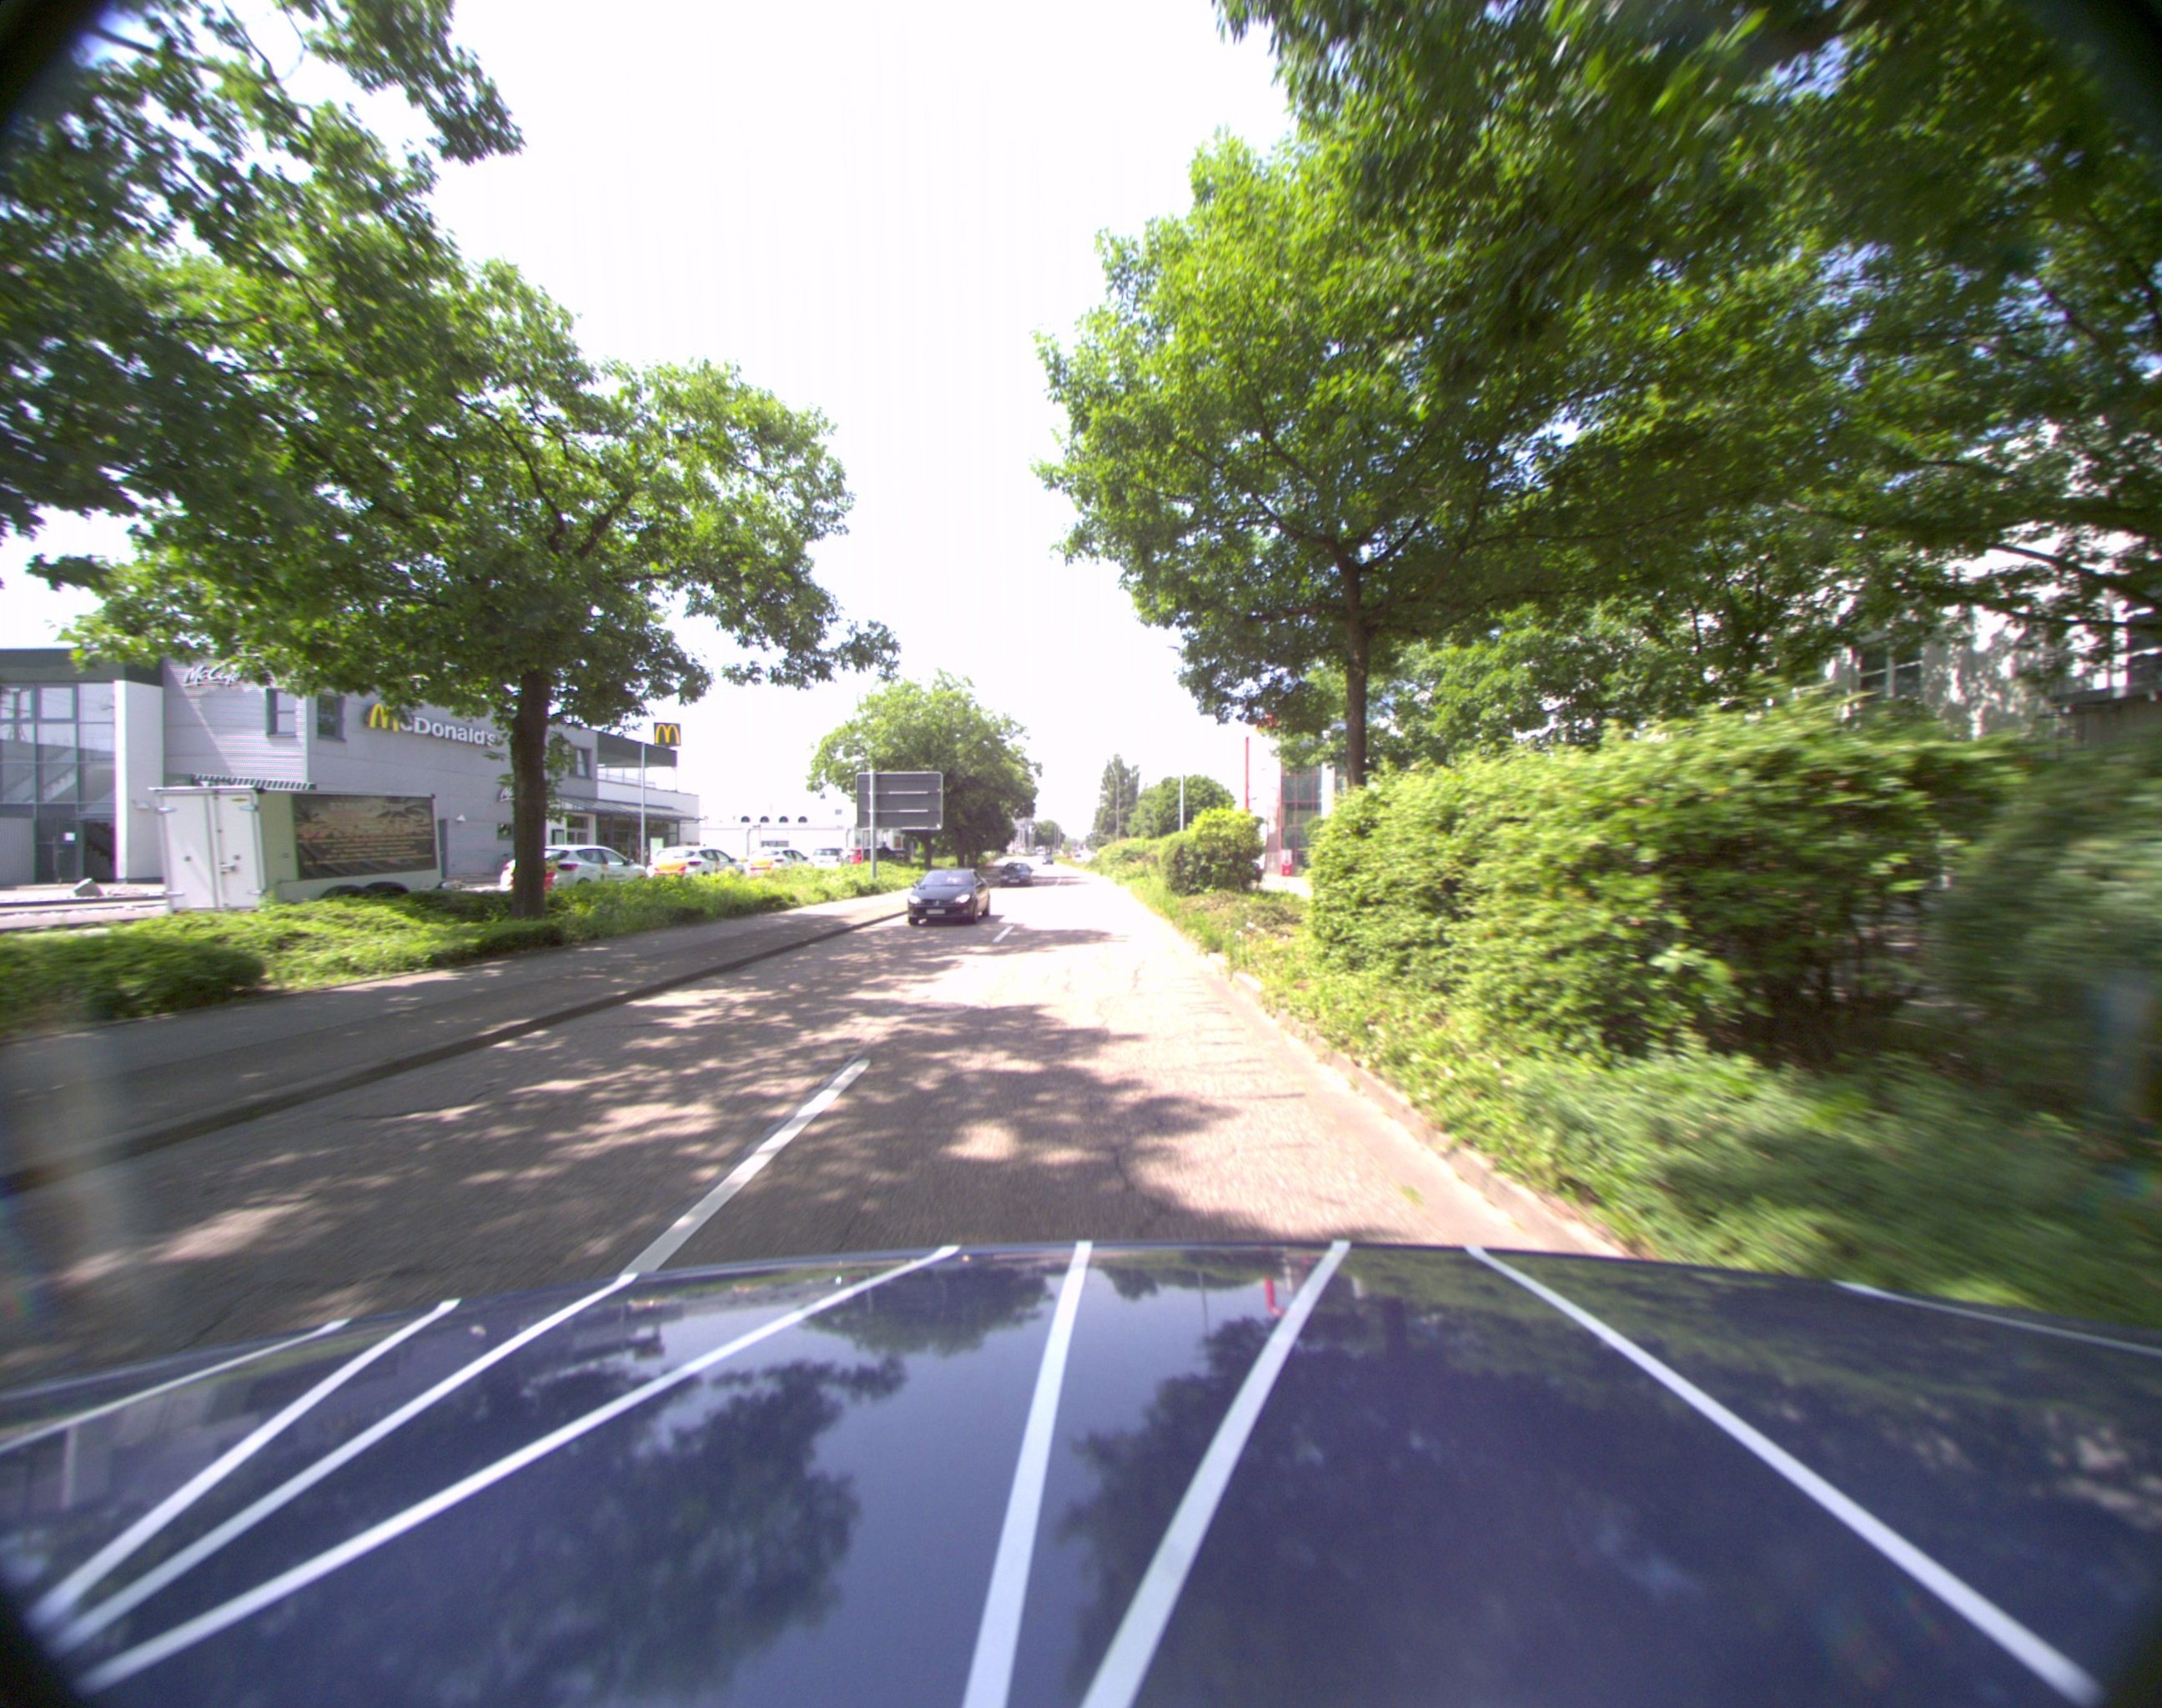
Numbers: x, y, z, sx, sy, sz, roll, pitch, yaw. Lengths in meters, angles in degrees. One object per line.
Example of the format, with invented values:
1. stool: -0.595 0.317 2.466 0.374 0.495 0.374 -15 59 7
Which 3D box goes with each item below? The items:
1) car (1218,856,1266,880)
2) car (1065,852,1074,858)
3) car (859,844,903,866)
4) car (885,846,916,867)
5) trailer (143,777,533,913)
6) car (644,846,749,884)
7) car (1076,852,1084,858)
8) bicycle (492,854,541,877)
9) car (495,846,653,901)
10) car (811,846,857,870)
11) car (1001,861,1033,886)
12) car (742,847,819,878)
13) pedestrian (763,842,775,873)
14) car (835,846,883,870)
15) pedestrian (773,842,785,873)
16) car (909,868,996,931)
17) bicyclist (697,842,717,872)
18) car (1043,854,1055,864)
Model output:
1. car: 10.909 0.909 51.813 2.132 1.442 5.240 2 0 0
2. car: -2.472 0.243 163.135 1.734 1.316 4.147 1 1 -4
3. car: -12.700 0.056 48.485 1.623 1.246 4.198 -3 1 1
4. car: -13.106 0.133 55.513 1.912 1.443 5.595 -1 1 -11
5. trailer: -13.247 -0.143 14.259 1.704 2.043 5.484 -1 0 3
6. car: -12.880 0.313 25.722 1.597 1.151 3.737 -1 1 0
7. car: -0.346 0.206 203.077 1.727 1.408 4.244 2 0 -5
8. bicycle: -25.466 0.511 34.328 0.590 0.974 2.102 0 0 2
9. car: -12.915 0.439 19.643 1.623 1.245 3.629 -1 1 -1
10. car: -12.756 0.187 39.367 1.511 1.116 2.855 -1 1 -1
11. car: -3.633 1.067 42.779 1.712 1.315 3.954 -1 -1 -6
12. car: -13.174 0.337 33.600 1.622 1.245 3.867 -1 1 4
13. pedestrian: -19.246 0.239 46.824 0.583 1.910 0.409 0 1 0
14. car: -12.661 0.194 43.529 1.623 1.245 3.762 -1 1 0
15. pedestrian: -18.590 0.206 46.780 0.467 1.910 0.534 0 1 0
16. car: -3.244 1.111 19.743 1.641 1.349 3.499 -1 1 0
17. bicyclist: -22.823 0.175 46.409 0.780 1.794 0.864 0 1 -2
18. car: -4.771 0.697 113.303 1.868 1.390 3.999 1 0 -3
